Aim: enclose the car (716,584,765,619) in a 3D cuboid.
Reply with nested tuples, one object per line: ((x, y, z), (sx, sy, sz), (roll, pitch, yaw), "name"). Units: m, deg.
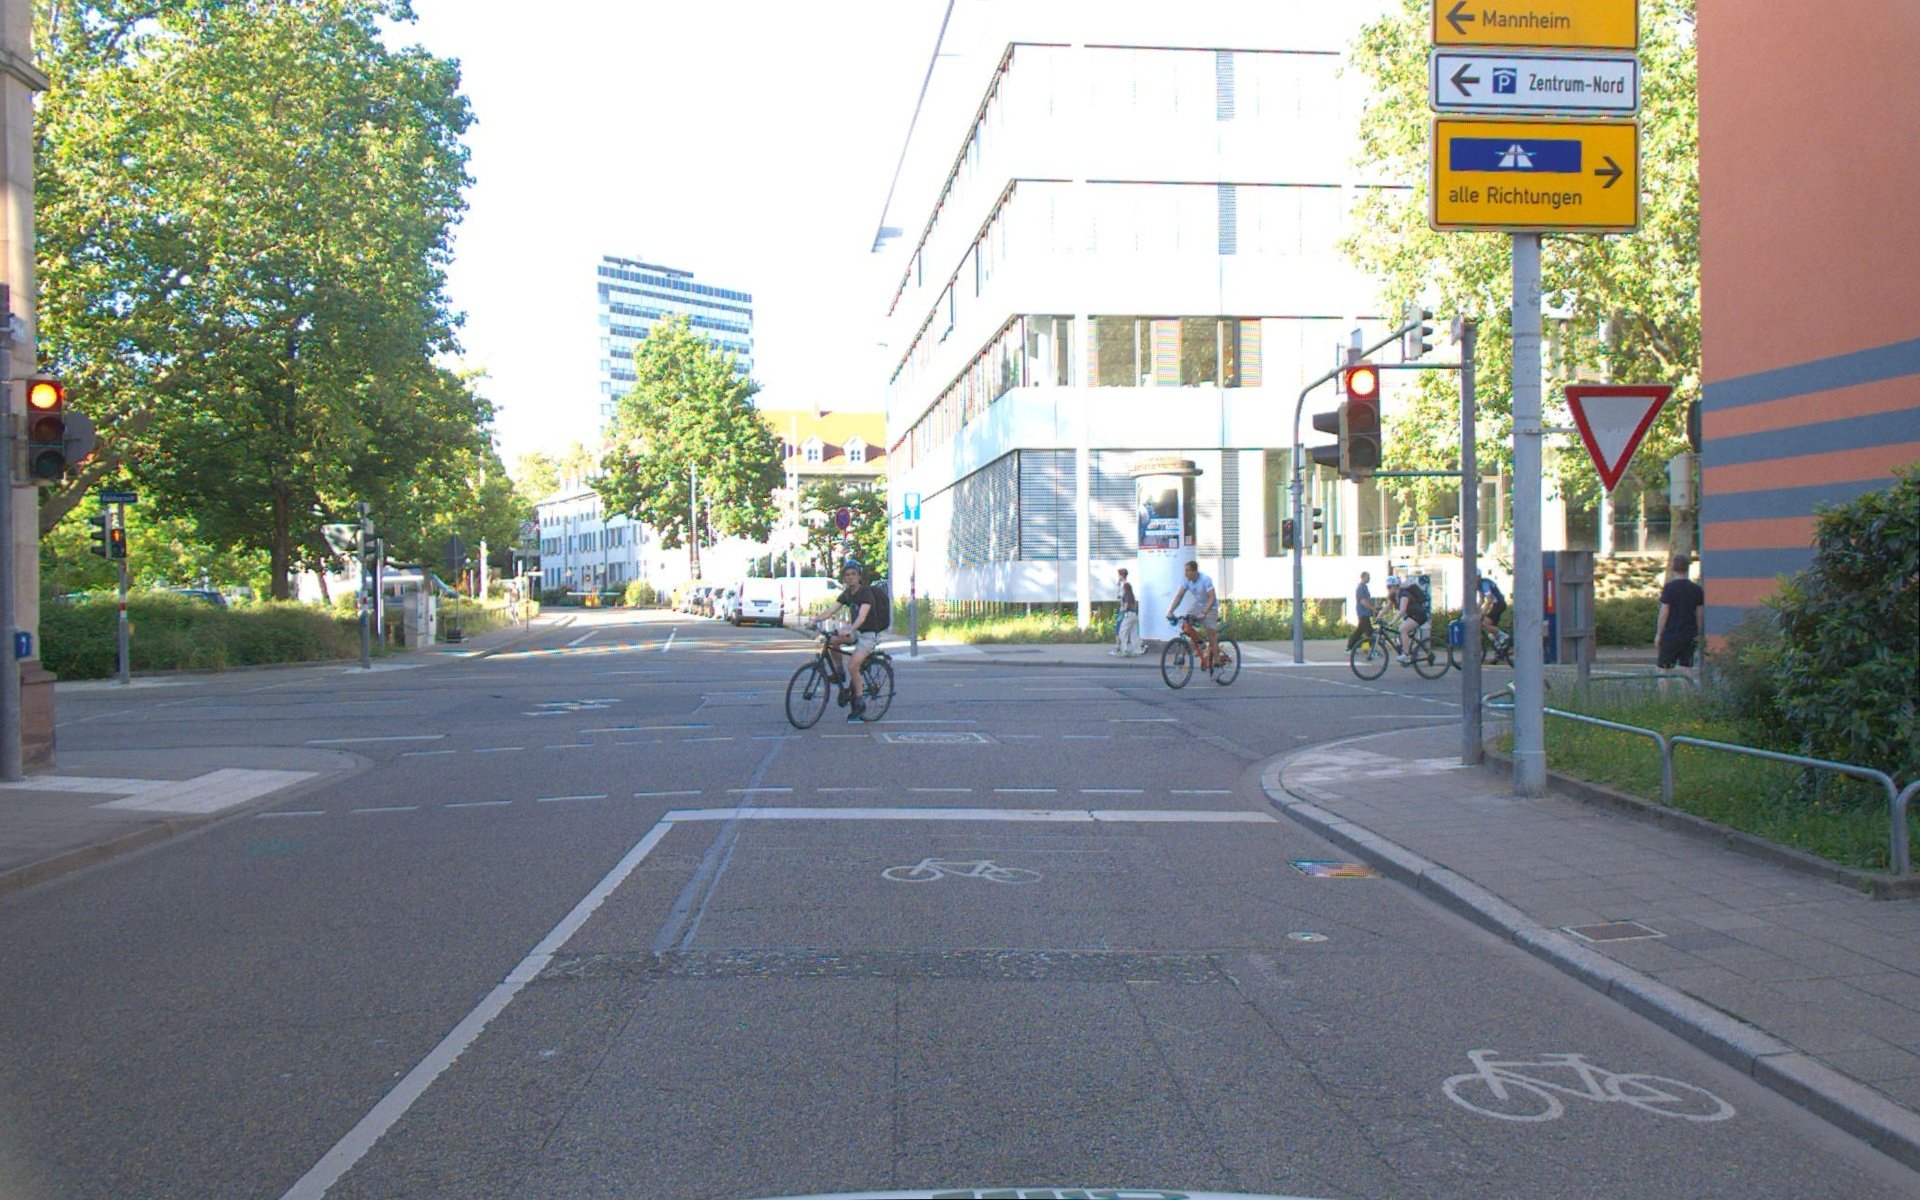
((-10.188, 0.067, 76.653), (1.958, 1.525, 4.639), (1, 0, -11), "car")

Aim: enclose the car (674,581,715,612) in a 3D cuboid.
((-15.376, -0.199, 95.606), (1.960, 1.755, 4.635), (1, 0, -14), "car")

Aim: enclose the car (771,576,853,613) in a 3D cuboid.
((-9.193, -0.337, 102.798), (4.718, 2.196, 1.990), (1, 0, -18), "car")

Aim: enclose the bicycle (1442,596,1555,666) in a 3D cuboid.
((9.294, 0.527, 28.567), (1.745, 1.172, 0.626), (-1, 0, -8), "bicycle")

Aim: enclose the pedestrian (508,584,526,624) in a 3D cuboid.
((-18.199, 0.179, 67.890), (0.688, 1.614, 0.634), (1, -1, -16), "pedestrian")

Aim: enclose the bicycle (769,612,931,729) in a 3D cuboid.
((-1.173, 0.742, 18.095), (0.581, 1.172, 1.960), (-1, 1, 39), "bicycle")

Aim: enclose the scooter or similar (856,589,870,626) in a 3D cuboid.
((-3.422, 0.271, 58.236), (0.429, 1.278, 1.418), (-1, 0, -5), "scooter or similar")

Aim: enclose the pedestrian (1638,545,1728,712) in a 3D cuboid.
((8.186, 0.318, 18.719), (0.713, 1.842, 0.691), (1, -1, -42), "pedestrian")

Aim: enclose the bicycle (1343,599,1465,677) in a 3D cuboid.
((6.943, 0.586, 25.908), (1.746, 1.172, 0.626), (-1, 0, -11), "bicycle")

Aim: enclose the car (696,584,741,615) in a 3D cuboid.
((-12.544, -0.040, 85.790), (1.959, 1.525, 4.637), (1, 0, -13), "car")

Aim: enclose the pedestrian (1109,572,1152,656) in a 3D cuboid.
((3.624, 0.291, 35.077), (0.749, 1.749, 0.648), (1, -1, 21), "pedestrian")

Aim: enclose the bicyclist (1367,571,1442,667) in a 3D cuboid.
((6.954, 0.290, 25.900), (0.953, 1.471, 0.626), (-1, 0, -11), "bicyclist")

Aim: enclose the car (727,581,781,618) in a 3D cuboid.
((-8.863, -0.012, 70.903), (1.958, 1.525, 4.639), (1, 0, -11), "car")

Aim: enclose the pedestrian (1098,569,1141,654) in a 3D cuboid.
((3.473, 0.252, 36.008), (0.749, 1.826, 0.648), (1, -1, 21), "pedestrian")

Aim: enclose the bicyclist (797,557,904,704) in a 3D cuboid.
((-1.186, 0.320, 18.101), (0.581, 1.554, 1.073), (-1, 0, 39), "bicyclist")

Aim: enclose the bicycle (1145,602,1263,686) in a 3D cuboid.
((3.611, 0.626, 24.407), (1.953, 1.172, 0.618), (-1, 0, -42), "bicycle")

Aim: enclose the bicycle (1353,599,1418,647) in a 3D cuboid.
((9.328, 0.505, 36.283), (0.376, 1.026, 1.410), (-1, 0, -42), "bicycle")

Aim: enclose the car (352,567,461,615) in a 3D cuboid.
((-24.956, -0.377, 74.683), (4.363, 2.049, 1.995), (1, 0, -10), "car")

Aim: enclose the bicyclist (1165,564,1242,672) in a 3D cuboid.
((3.601, 0.258, 24.416), (0.911, 1.549, 0.694), (-1, 0, -42), "bicyclist")

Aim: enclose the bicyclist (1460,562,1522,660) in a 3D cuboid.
((9.163, 0.185, 28.548), (0.808, 1.657, 0.626), (-1, 0, -8), "bicyclist")

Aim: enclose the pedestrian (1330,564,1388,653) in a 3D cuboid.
((8.500, 0.180, 35.244), (0.755, 1.847, 0.904), (1, -1, -39), "pedestrian")

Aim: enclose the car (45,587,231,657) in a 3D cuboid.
((-18.362, 0.488, 37.065), (3.347, 1.483, 1.646), (1, 0, -11), "car")

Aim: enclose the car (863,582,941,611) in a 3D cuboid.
((-3.668, -0.222, 104.724), (4.563, 1.755, 1.991), (1, 0, -17), "car")

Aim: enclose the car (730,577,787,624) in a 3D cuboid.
((-7.910, 0.021, 64.703), (1.957, 1.755, 4.641), (1, 0, -10), "car")

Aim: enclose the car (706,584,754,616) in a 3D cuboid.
((-11.301, 0.001, 81.084), (1.959, 1.525, 4.272), (1, 0, -13), "car")
